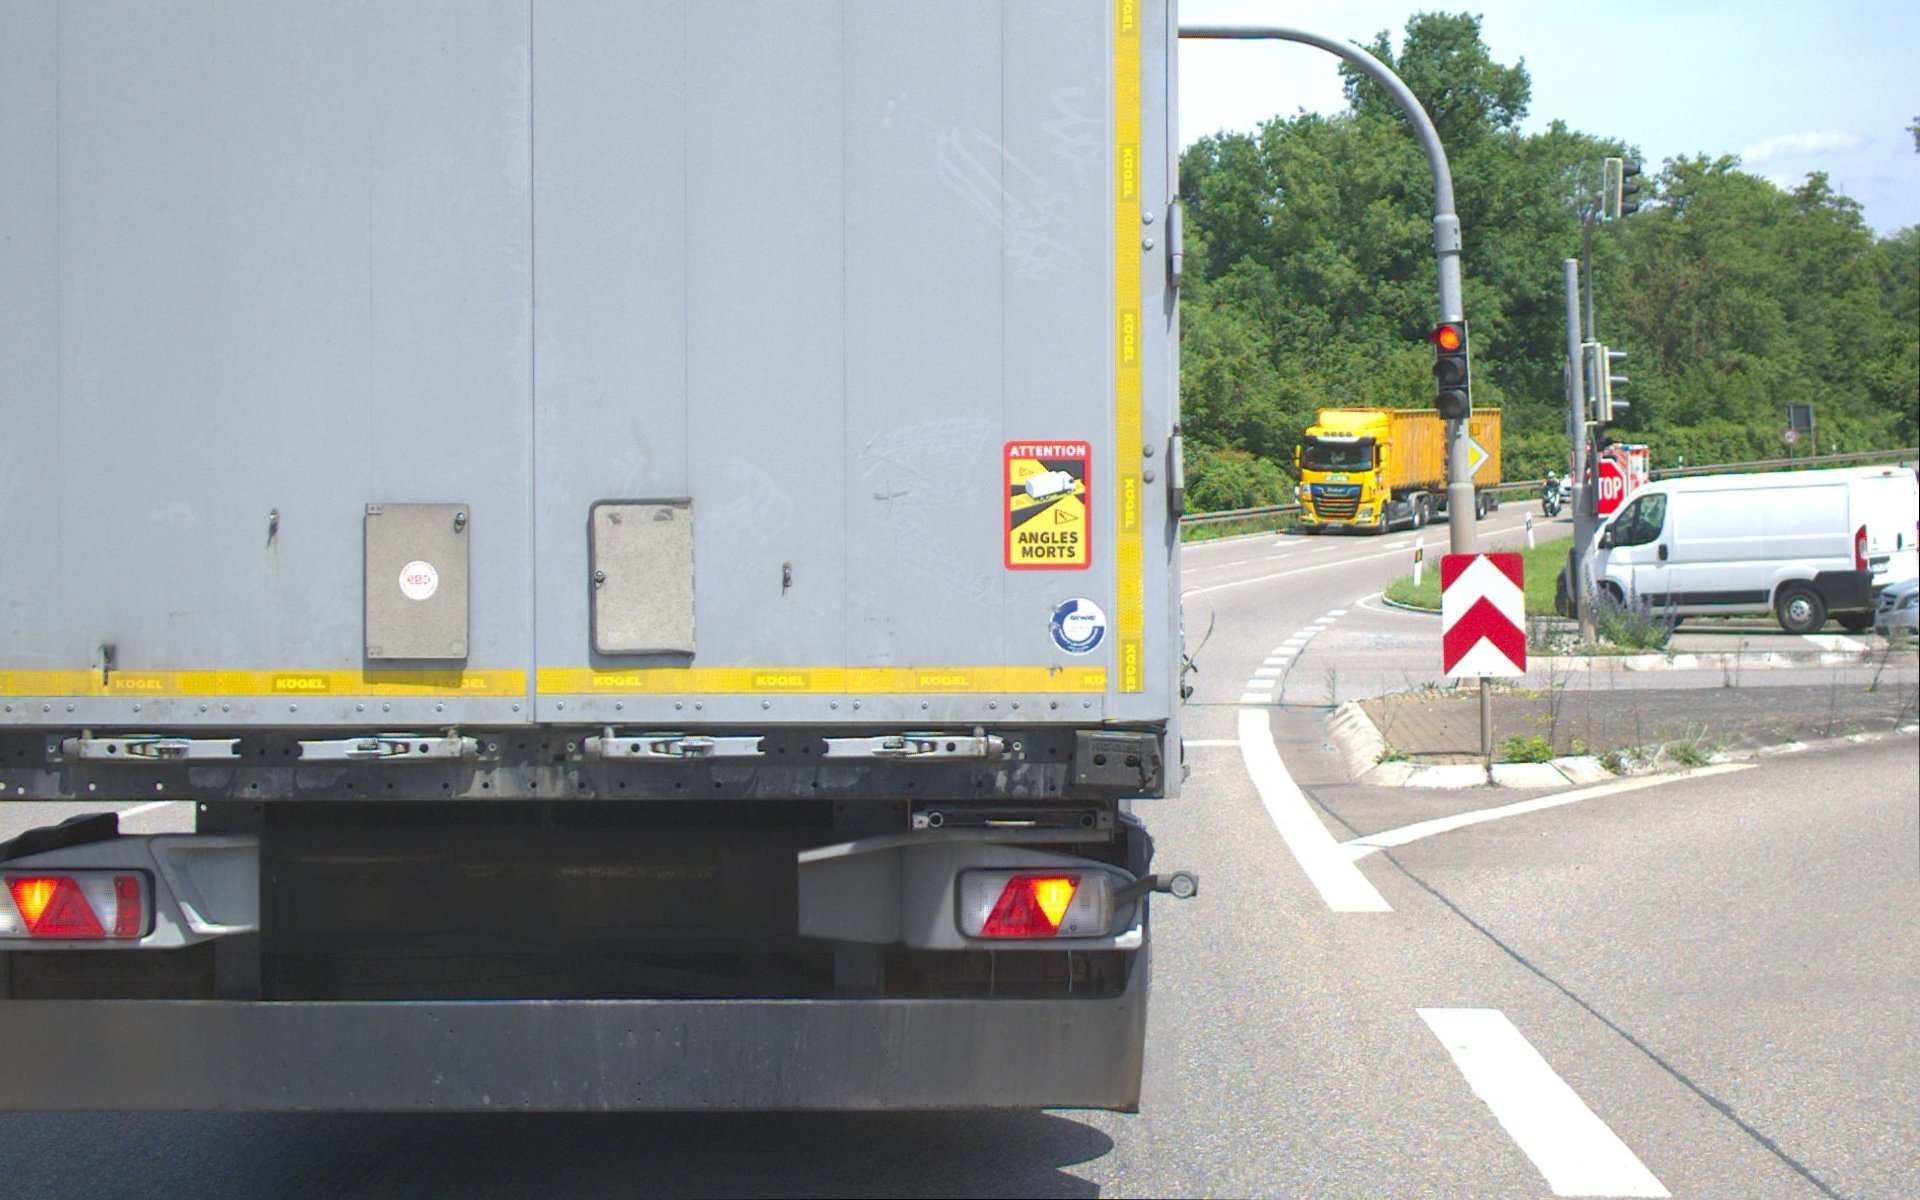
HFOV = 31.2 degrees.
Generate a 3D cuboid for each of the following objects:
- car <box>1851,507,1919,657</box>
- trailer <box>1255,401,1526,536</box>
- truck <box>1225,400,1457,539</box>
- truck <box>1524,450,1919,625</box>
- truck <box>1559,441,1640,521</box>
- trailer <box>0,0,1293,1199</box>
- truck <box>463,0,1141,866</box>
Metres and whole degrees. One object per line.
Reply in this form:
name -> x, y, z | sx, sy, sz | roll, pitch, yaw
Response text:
car -> 12.836, -0.183, 40.123 | 4.428, 1.712, 2.000 | 0, -1, 5
trailer -> 15.681, -4.660, 122.329 | 5.016, 4.347, 20.818 | 0, 2, 20
truck -> 12.862, -4.337, 114.633 | 5.016, 4.347, 11.754 | 0, 2, 20
truck -> 10.624, -0.807, 47.851 | 5.156, 2.288, 1.995 | 0, -1, 38
truck -> 22.757, -4.178, 122.226 | 2.495, 2.718, 6.027 | 0, 1, 14
trailer -> -0.784, -0.773, 12.622 | 3.052, 4.020, 12.559 | 0, 1, 1
truck -> -0.642, -0.872, 18.878 | 3.038, 4.020, 6.629 | 0, 1, 1
